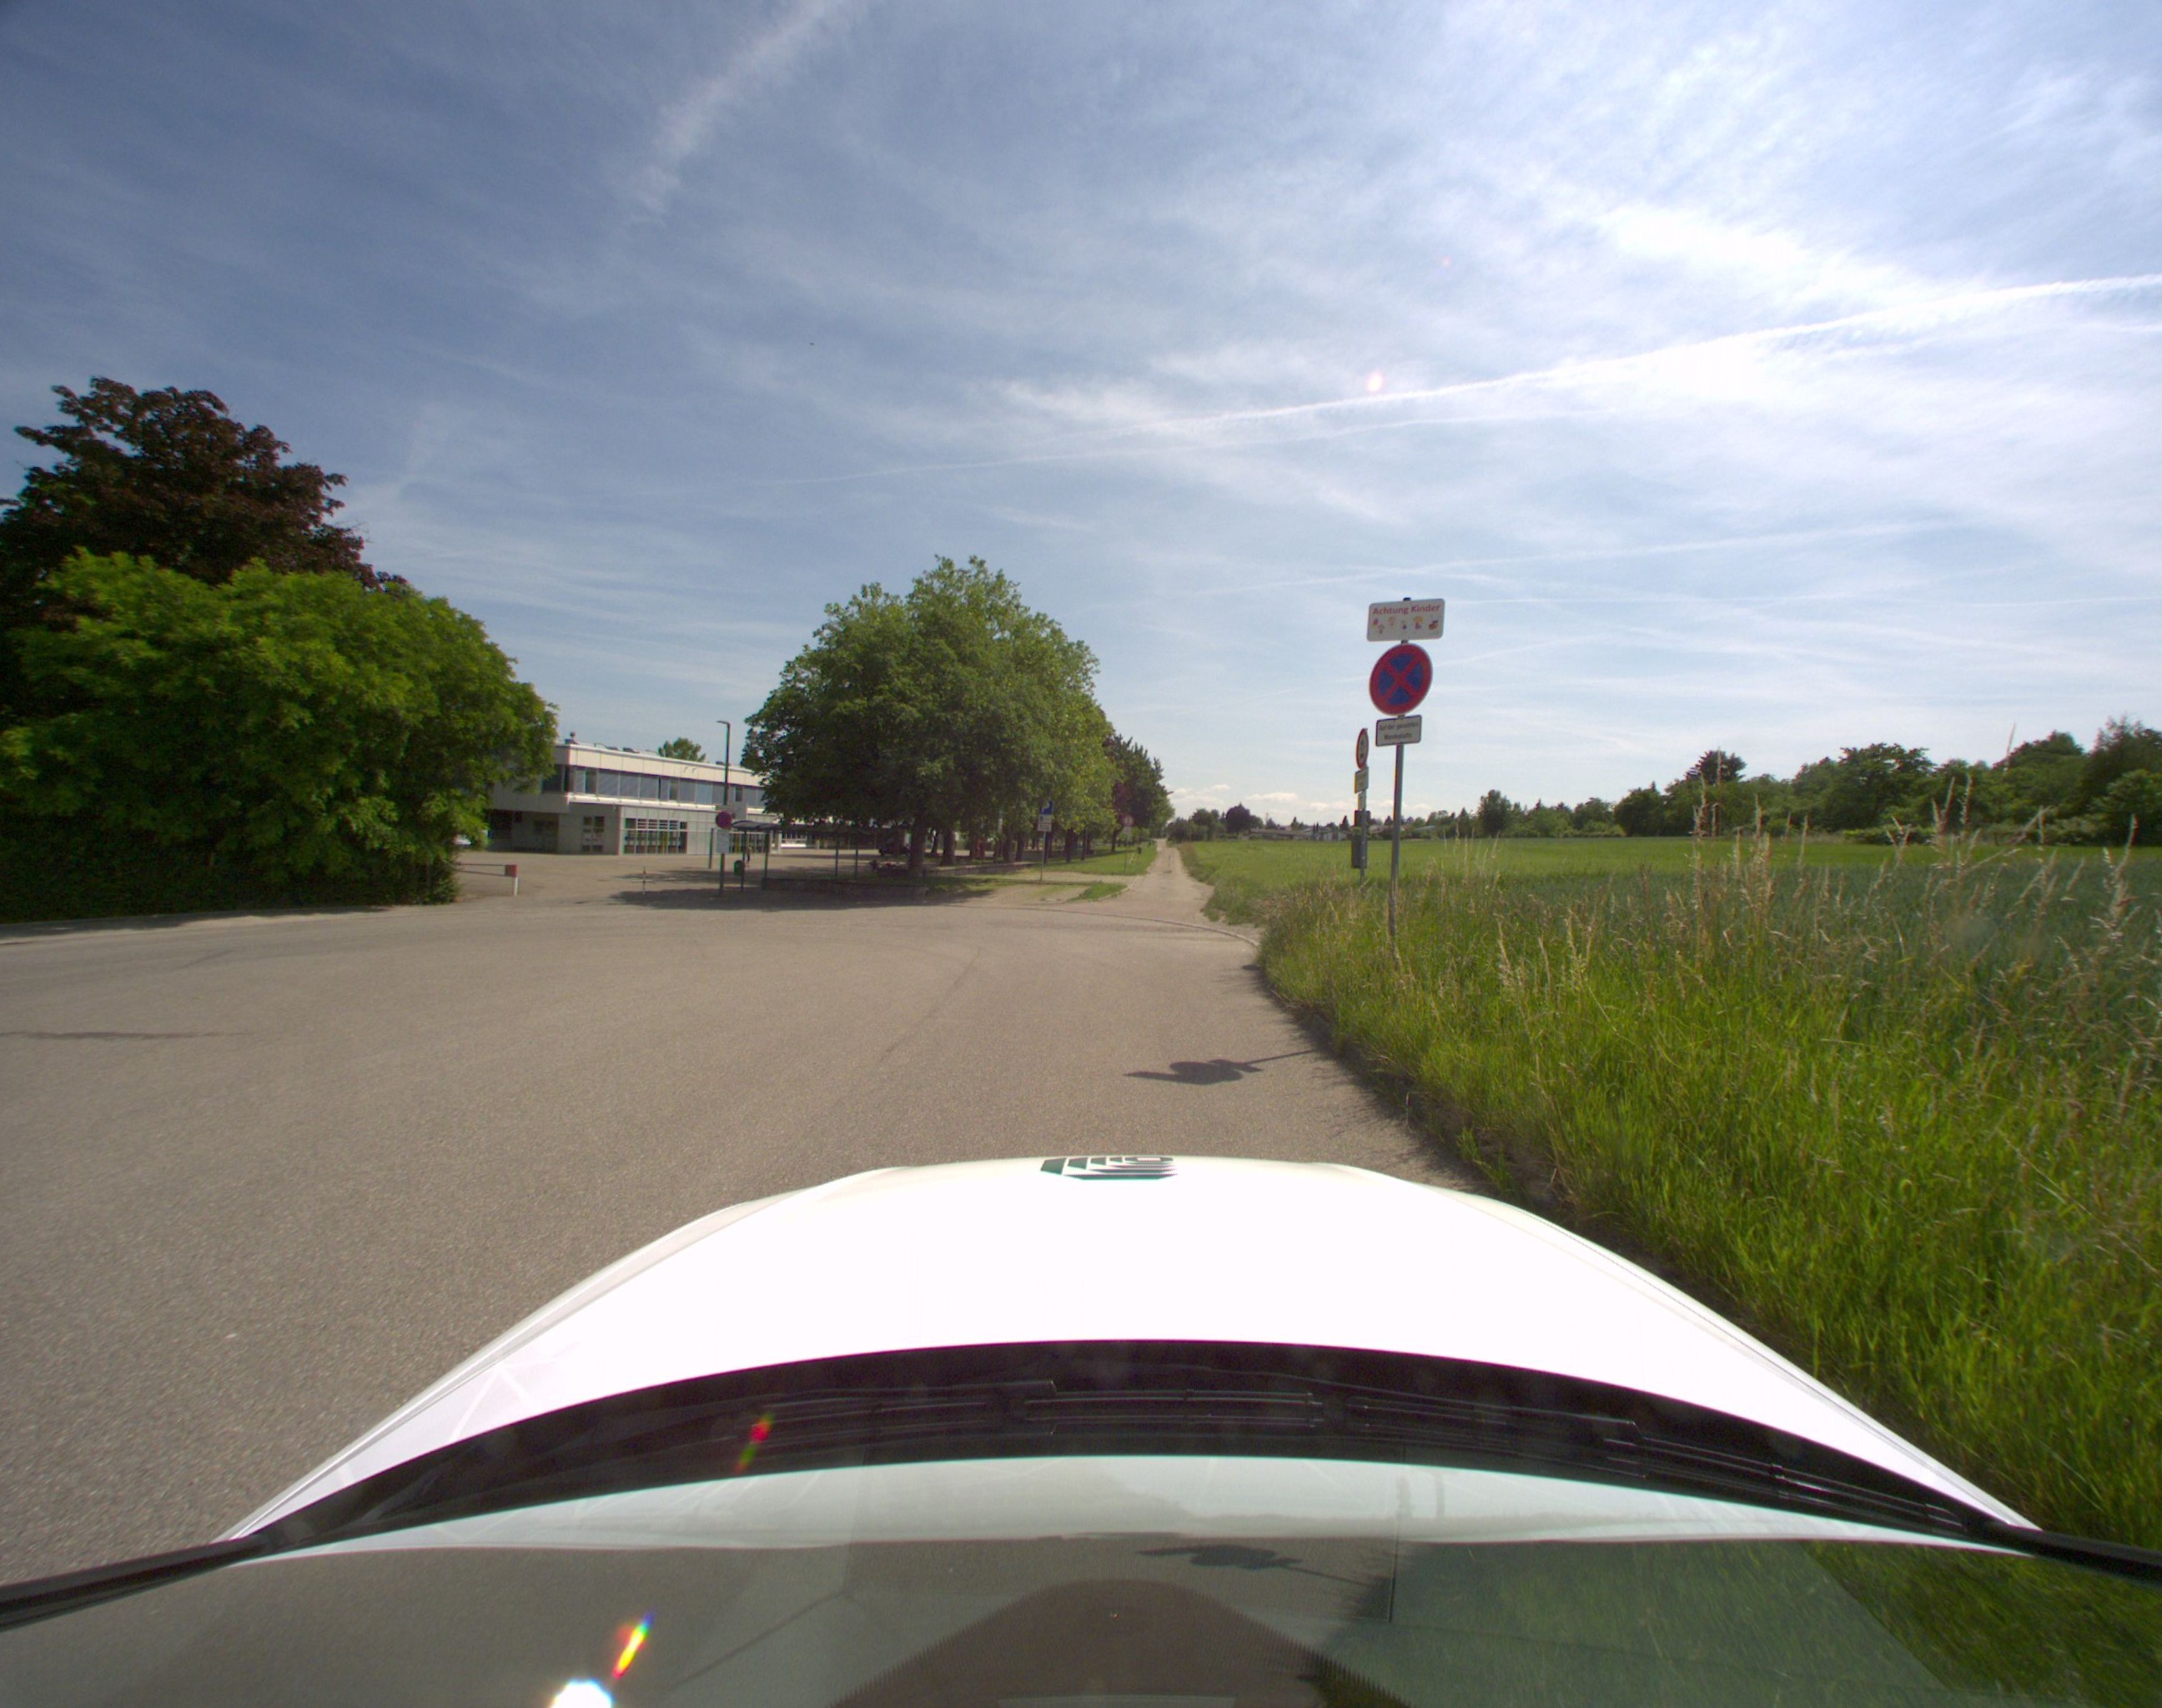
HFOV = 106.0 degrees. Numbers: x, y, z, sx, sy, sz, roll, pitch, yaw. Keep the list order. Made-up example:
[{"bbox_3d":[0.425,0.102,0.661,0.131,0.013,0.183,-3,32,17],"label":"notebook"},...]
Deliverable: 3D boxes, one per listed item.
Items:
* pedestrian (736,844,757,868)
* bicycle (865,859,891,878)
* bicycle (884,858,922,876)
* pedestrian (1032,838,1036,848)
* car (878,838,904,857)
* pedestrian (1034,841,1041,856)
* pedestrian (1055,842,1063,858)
[{"bbox_3d":[-20.277,0.099,49.348,1.071,1.423,0.912,2,0,-24],"label":"pedestrian"},{"bbox_3d":[-11.282,0.797,45.366,0.590,1.039,1.899,1,0,12],"label":"bicycle"},{"bbox_3d":[-10.404,0.758,47.592,2.058,1.039,0.571,1,0,-4],"label":"bicycle"},{"bbox_3d":[-9.687,-2.321,168.494,0.719,2.013,0.684,-1,0,7],"label":"pedestrian"},{"bbox_3d":[-19.776,-0.688,84.993,1.684,1.834,3.413,2,0,3],"label":"car"},{"bbox_3d":[-6.061,-0.750,112.953,0.833,2.013,0.689,2,0,-11],"label":"pedestrian"},{"bbox_3d":[-2.851,-0.465,104.039,0.686,2.013,0.796,2,0,-28],"label":"pedestrian"}]
